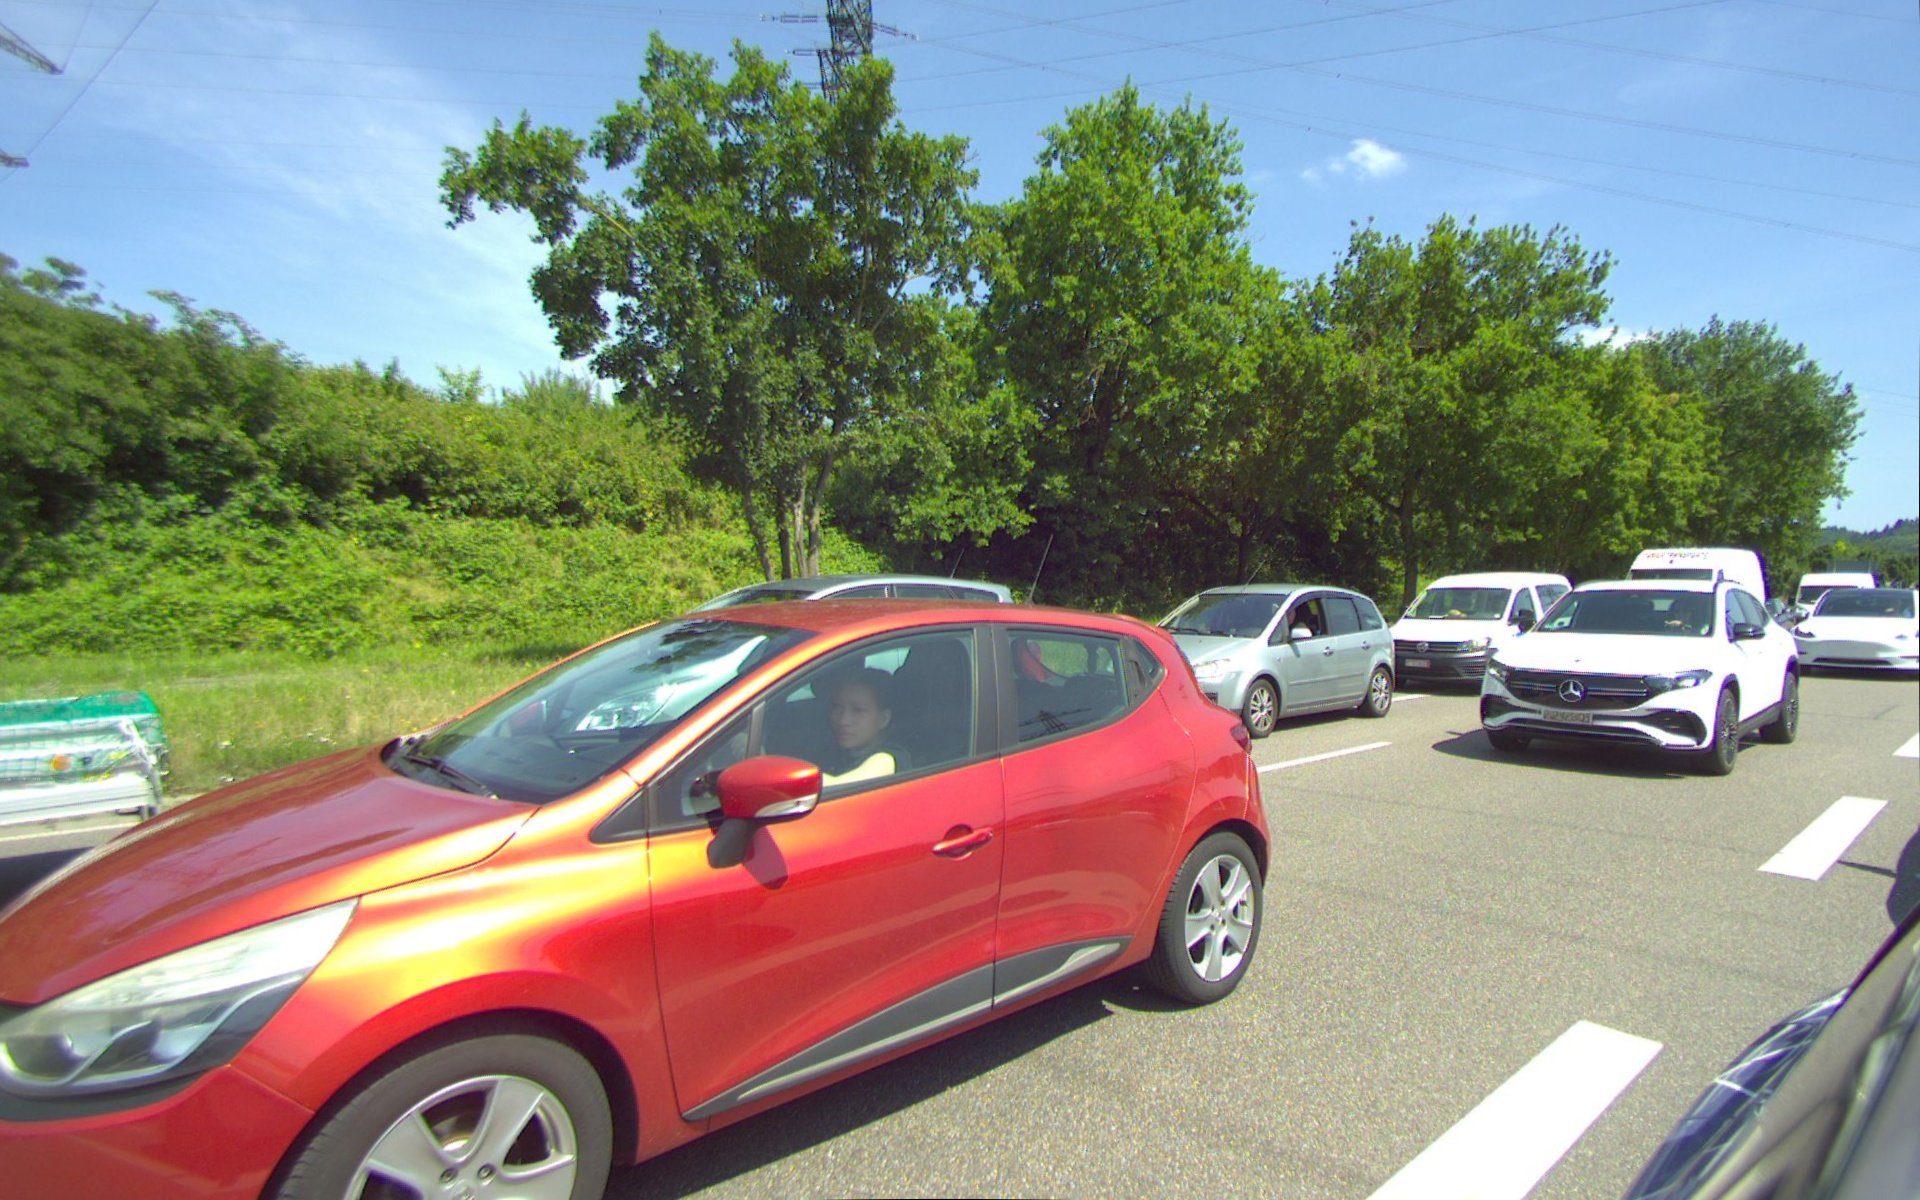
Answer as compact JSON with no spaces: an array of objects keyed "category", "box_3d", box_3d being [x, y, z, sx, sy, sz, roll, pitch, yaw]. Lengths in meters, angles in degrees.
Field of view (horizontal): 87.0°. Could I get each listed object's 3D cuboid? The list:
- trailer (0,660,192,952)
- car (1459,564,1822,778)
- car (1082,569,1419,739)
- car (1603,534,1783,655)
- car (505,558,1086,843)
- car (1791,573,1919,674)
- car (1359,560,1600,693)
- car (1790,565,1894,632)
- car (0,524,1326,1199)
[{"category":"trailer","box_3d":[-5.081,0.859,3.912,3.266,1.019,1.708,0,1,-41]},{"category":"car","box_3d":[6.616,0.514,9.649,4.287,1.588,1.848,0,0,-41]},{"category":"car","box_3d":[3.463,0.499,11.638,4.198,1.614,1.746,0,0,-41]},{"category":"car","box_3d":[18.302,-0.141,25.081,6.897,2.640,2.230,0,0,-42]},{"category":"car","box_3d":[-1.067,0.541,7.764,4.092,1.615,1.768,0,1,-41]},{"category":"car","box_3d":[17.148,0.378,18.897,3.932,1.703,2.019,0,0,-43]},{"category":"car","box_3d":[8.438,0.350,16.216,4.951,1.823,1.807,0,0,-42]},{"category":"car","box_3d":[34.576,-0.074,39.623,5.712,2.453,2.306,0,0,-41]},{"category":"car","box_3d":[-0.584,0.617,3.366,3.995,1.480,1.745,0,0,-42]}]
